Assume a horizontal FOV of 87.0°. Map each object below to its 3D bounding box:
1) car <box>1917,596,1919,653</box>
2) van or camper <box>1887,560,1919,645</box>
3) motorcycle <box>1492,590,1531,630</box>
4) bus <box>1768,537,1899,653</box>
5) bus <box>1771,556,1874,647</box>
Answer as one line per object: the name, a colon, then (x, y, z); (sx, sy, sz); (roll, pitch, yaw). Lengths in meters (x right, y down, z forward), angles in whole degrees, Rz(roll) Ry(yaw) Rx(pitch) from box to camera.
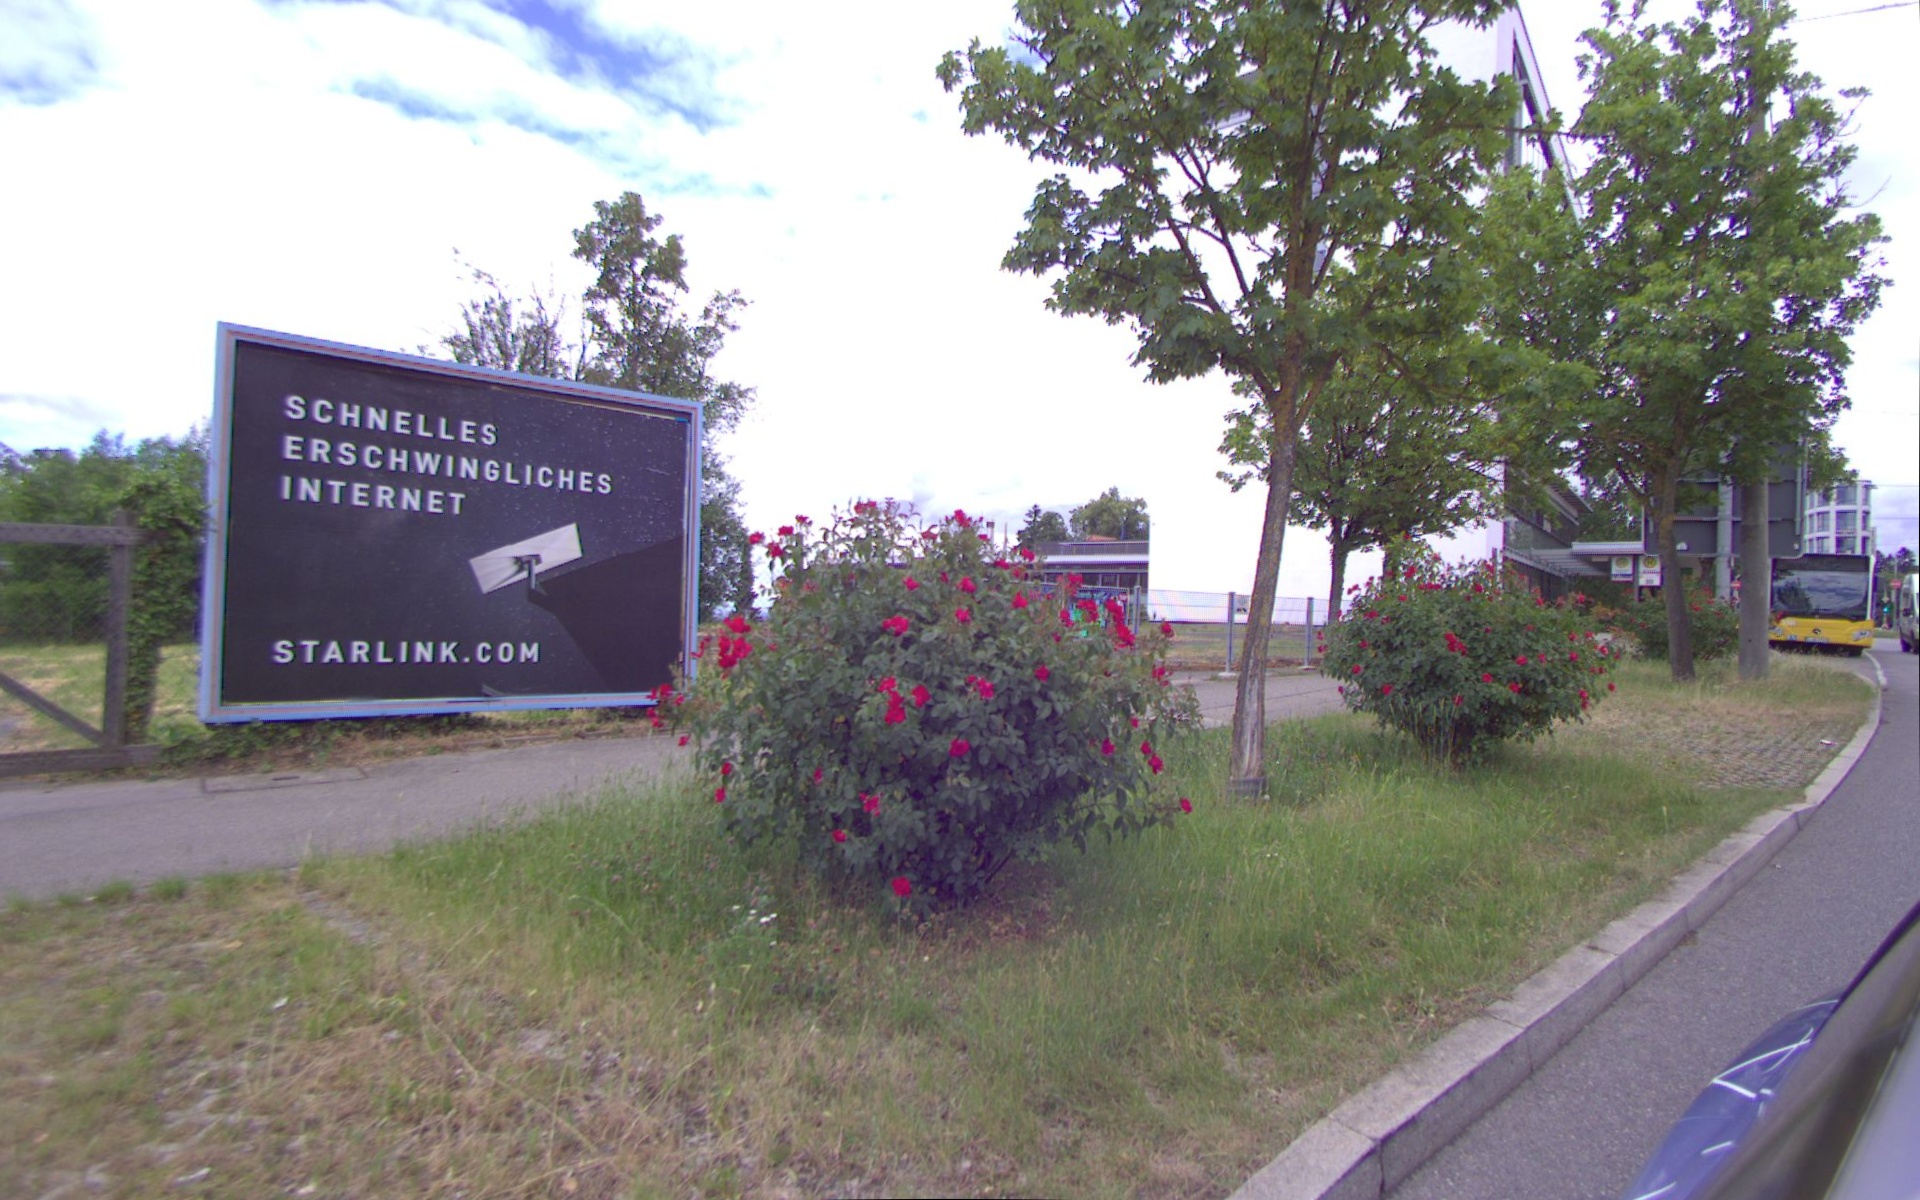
car: (26.070, 0.679, 25.516); (1.848, 1.544, 3.959); (1, 0, 29)
van or camper: (33.660, 0.130, 34.543); (2.269, 2.740, 6.900); (1, 0, 37)
motorcycle: (17.544, 0.314, 32.225); (0.574, 1.237, 1.578); (1, 1, 8)
bus: (27.941, -0.148, 32.638); (2.709, 3.203, 8.996); (4, 2, 39)
bus: (33.503, 0.045, 39.576); (2.708, 3.147, 8.744); (3, 1, 39)
